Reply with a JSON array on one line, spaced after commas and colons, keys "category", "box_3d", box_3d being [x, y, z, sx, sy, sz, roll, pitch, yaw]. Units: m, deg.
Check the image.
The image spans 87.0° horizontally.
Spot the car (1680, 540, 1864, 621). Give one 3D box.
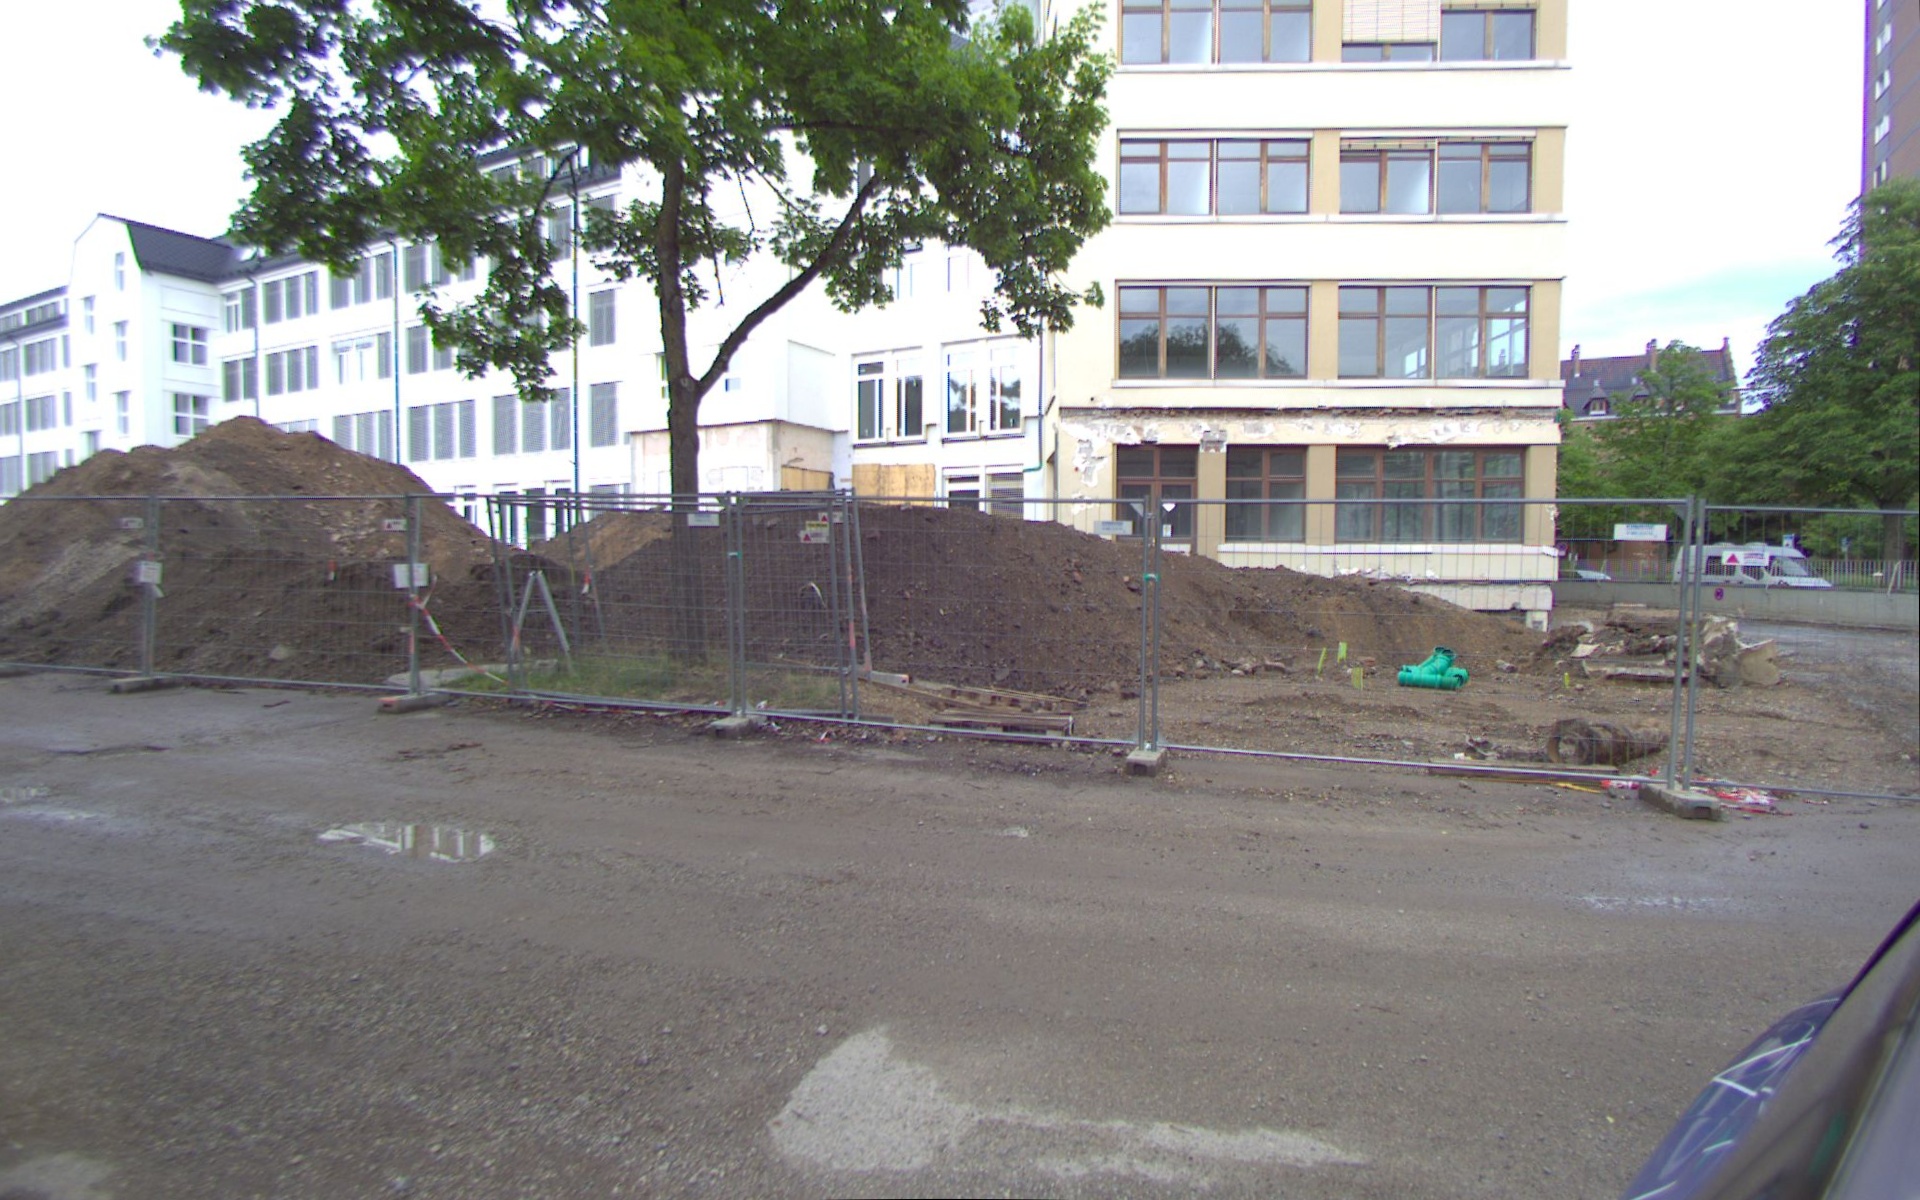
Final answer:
[{"category": "car", "box_3d": [28.441, -0.752, 35.768, 2.080, 2.634, 5.493, -1, 2, 1]}]

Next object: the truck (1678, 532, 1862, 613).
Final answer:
[{"category": "truck", "box_3d": [28.340, -1.006, 35.729, 2.080, 2.634, 5.493, -1, 2, 1]}]
